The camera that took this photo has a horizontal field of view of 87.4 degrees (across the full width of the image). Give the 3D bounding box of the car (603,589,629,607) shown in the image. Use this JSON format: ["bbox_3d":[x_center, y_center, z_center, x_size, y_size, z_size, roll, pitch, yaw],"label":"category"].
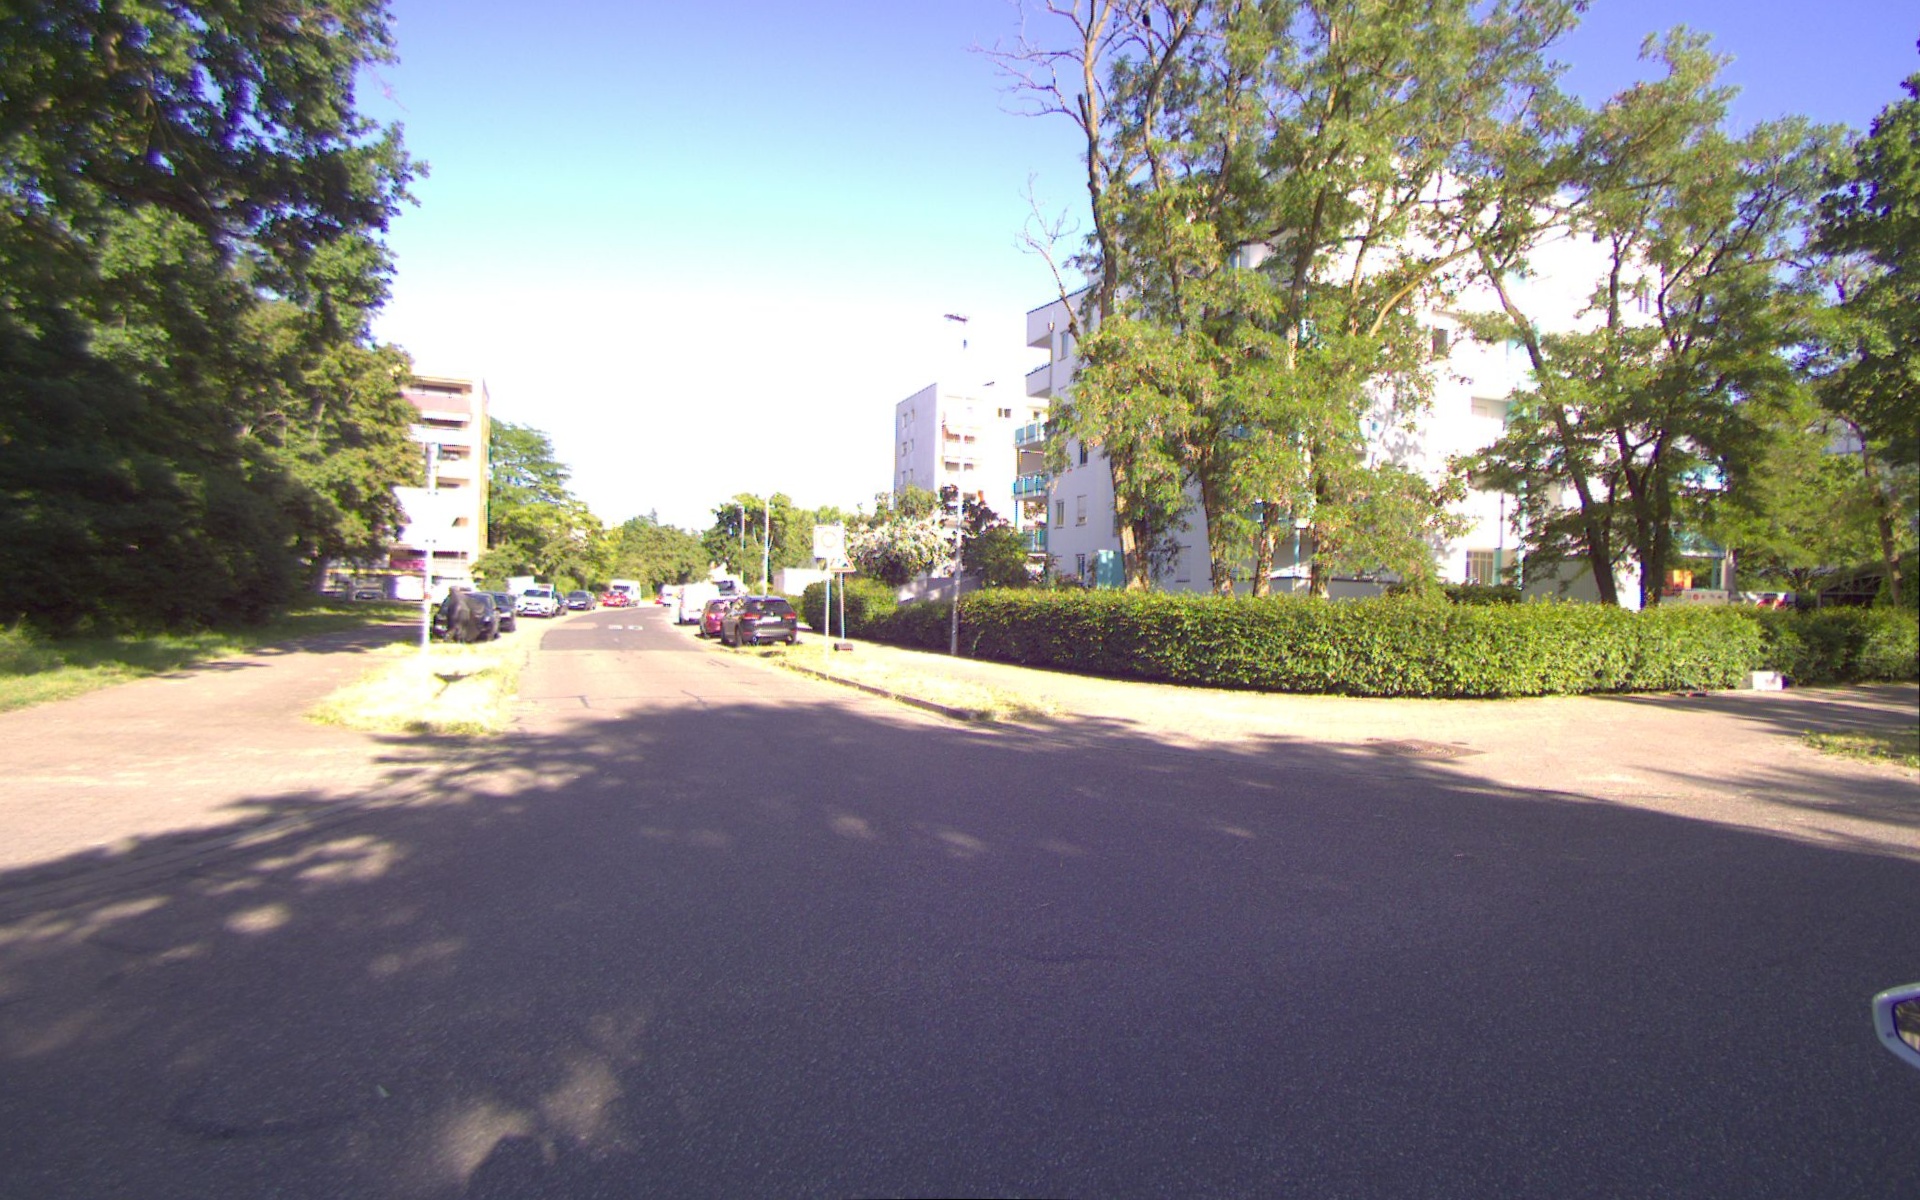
[{"bbox_3d":[-31.647,-0.214,92.598,1.795,1.617,3.990,1,0,-13],"label":"car"}]

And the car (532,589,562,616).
[{"bbox_3d":[-24.986,0.132,60.737,1.622,1.578,3.814,1,0,-23],"label":"car"}]

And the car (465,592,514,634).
[{"bbox_3d":[-17.453,0.456,37.360,1.538,1.410,3.568,1,0,-23],"label":"car"}]

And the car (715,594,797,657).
[{"bbox_3d":[-6.457,0.743,31.525,1.732,1.808,3.814,1,0,-23],"label":"car"}]

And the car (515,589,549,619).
[{"bbox_3d":[-23.560,0.207,55.312,1.622,1.578,3.814,1,0,-23],"label":"car"}]

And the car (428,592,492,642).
[{"bbox_3d":[-15.387,0.488,31.051,1.538,1.410,3.568,1,0,-23],"label":"car"}]

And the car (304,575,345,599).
[{"bbox_3d":[-44.386,-0.907,70.204,1.775,1.547,3.814,1,0,-23],"label":"car"}]

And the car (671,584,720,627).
[{"bbox_3d":[-13.462,0.241,50.955,1.802,2.088,3.814,1,0,-23],"label":"car"}]

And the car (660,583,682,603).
[{"bbox_3d":[-30.408,-0.741,105.804,1.899,2.040,3.989,1,0,-13],"label":"car"}]

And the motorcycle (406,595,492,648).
[{"bbox_3d":[-13.766,0.560,27.106,0.664,1.362,1.955,2,1,35],"label":"motorcycle"}]

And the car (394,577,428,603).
[{"bbox_3d":[-39.594,-0.748,72.496,1.738,1.767,3.814,1,0,-23],"label":"car"}]

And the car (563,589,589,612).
[{"bbox_3d":[-28.509,0.019,74.612,1.622,1.578,3.814,1,0,-23],"label":"car"}]

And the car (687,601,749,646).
[{"bbox_3d":[-9.169,0.854,37.885,1.615,1.531,3.814,1,0,-23],"label":"car"}]

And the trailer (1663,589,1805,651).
[{"bbox_3d":[27.265,0.715,35.388,4.364,2.070,1.973,1,0,-21],"label":"trailer"}]

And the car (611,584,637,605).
[{"bbox_3d":[-32.599,-0.536,97.660,1.949,1.925,3.990,1,0,-13],"label":"car"}]

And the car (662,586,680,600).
[{"bbox_3d":[-36.472,-0.929,126.943,1.860,1.662,3.991,1,0,-11],"label":"car"}]

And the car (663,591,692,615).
[{"bbox_3d":[-18.571,0.190,65.980,1.498,1.486,3.056,1,0,-22],"label":"car"}]

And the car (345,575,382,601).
[{"bbox_3d":[-42.488,-0.876,71.605,1.738,1.767,3.814,1,0,-23],"label":"car"}]
